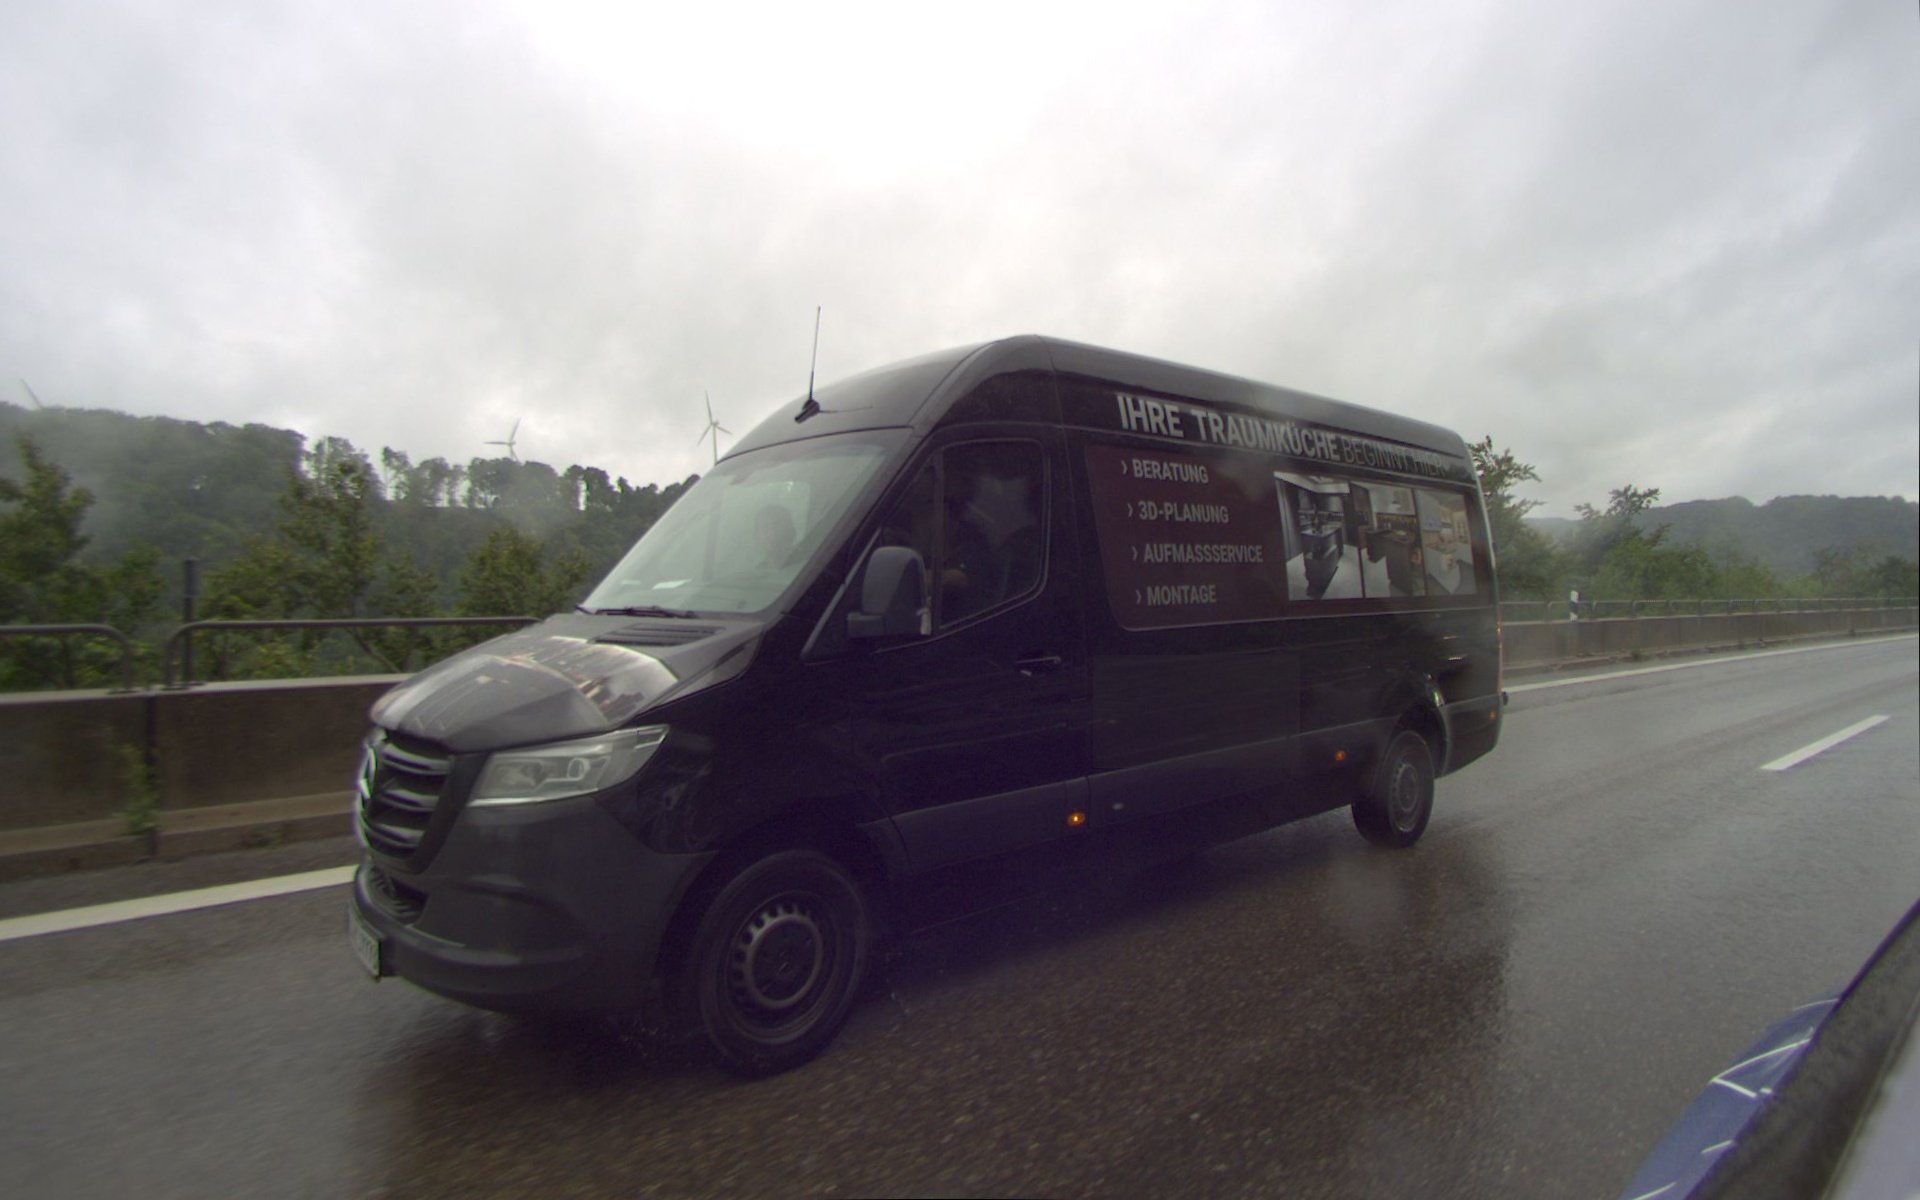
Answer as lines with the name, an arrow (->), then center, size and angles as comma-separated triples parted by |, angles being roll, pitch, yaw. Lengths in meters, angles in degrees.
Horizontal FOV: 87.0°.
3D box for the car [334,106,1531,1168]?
car -> 0.692, 0.053, 5.345 | 6.588, 2.525, 1.997 | 0, 1, -41
